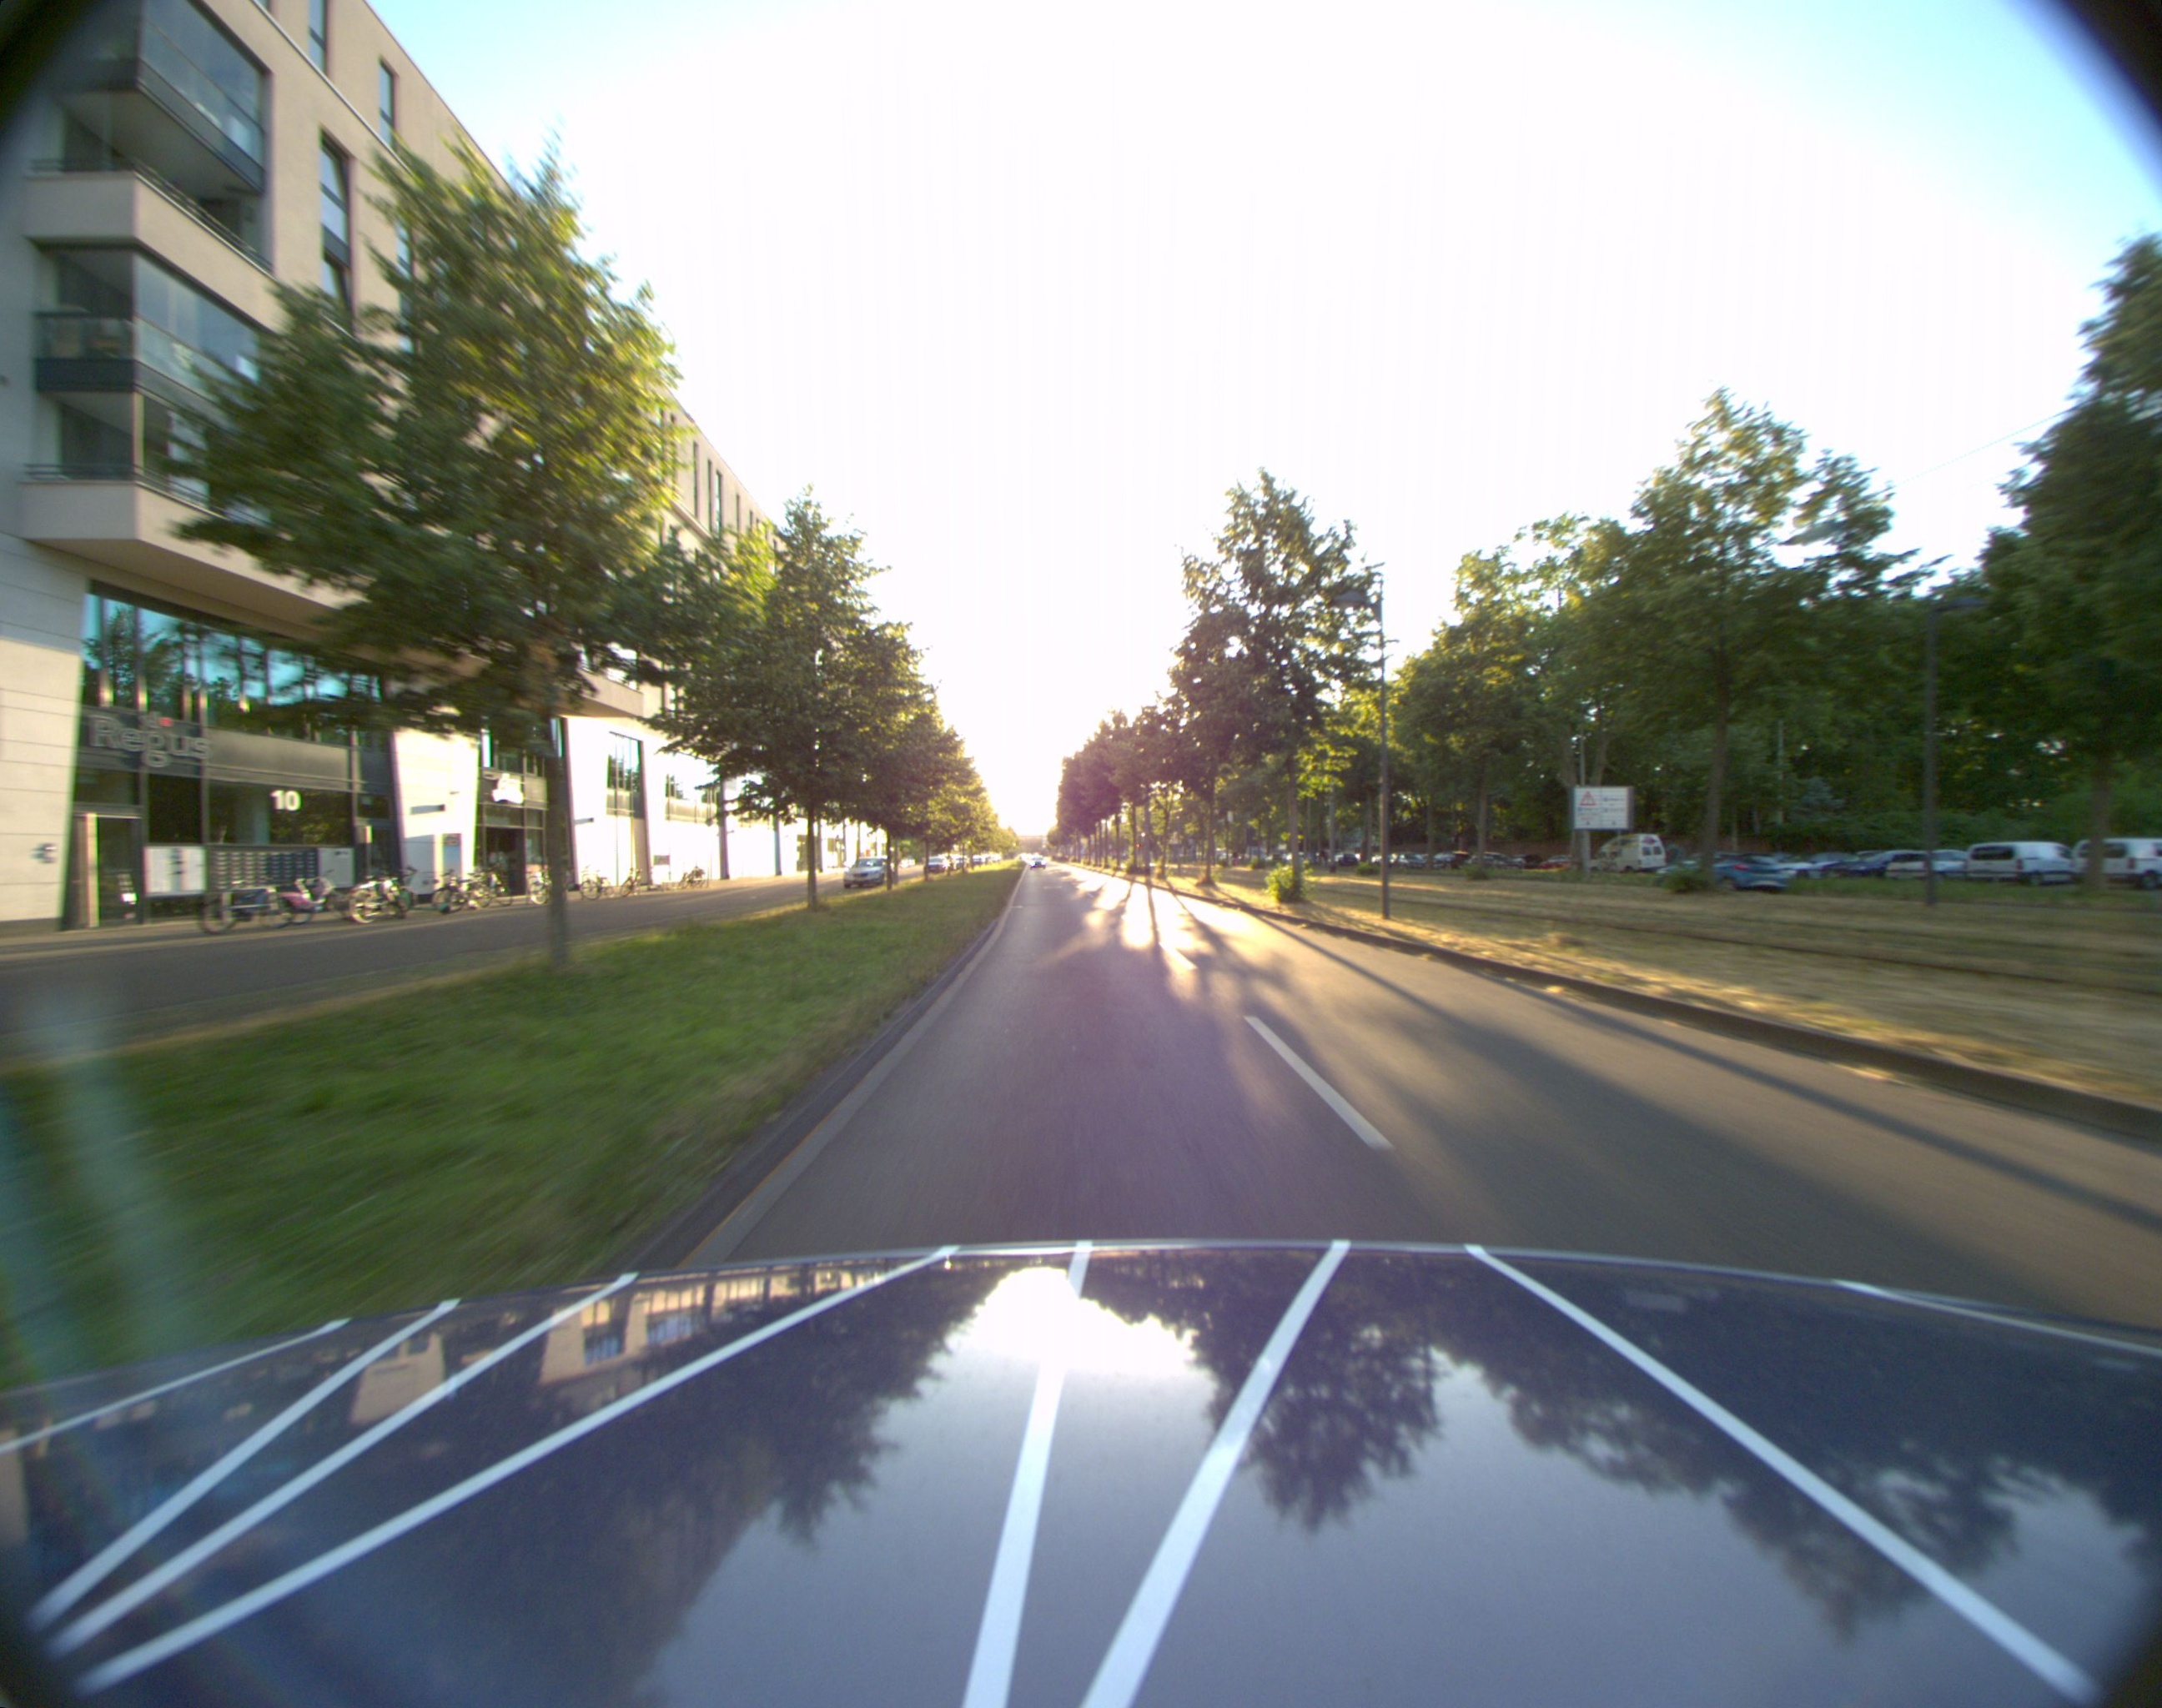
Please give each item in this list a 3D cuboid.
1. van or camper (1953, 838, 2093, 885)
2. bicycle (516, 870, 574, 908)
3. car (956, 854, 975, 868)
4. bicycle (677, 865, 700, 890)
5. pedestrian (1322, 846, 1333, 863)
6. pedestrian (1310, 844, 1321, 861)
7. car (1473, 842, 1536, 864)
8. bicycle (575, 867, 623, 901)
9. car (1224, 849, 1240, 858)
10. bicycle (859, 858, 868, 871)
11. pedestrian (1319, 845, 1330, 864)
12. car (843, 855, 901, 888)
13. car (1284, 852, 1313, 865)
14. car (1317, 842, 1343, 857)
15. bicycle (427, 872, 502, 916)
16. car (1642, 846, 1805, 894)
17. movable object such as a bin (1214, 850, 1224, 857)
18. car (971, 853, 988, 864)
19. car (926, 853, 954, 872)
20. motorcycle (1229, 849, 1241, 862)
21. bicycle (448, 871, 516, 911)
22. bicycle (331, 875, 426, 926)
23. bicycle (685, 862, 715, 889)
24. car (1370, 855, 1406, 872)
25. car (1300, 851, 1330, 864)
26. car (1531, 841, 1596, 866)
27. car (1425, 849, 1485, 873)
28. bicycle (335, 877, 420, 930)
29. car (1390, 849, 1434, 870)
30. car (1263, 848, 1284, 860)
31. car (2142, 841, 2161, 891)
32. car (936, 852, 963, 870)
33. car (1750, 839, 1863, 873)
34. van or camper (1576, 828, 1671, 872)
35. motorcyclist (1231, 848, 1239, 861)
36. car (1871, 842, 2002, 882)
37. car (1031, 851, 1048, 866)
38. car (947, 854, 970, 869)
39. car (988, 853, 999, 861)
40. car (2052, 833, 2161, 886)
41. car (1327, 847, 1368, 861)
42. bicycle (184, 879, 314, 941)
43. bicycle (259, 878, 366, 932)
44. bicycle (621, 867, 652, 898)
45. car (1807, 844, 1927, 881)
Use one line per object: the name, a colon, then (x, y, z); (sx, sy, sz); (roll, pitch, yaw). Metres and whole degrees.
van or camper: (37.592, 0.283, 30.352); (4.002, 1.780, 1.998); (-1, 0, -14)
bicycle: (-16.309, 1.047, 23.190); (0.534, 1.054, 1.856); (1, 0, -3)
car: (-13.215, 0.786, 86.967); (1.814, 1.492, 3.958); (-1, 0, -4)
bicycle: (-17.647, 1.030, 34.172); (0.535, 1.054, 1.854); (1, 0, -16)
pedestrian: (24.640, 0.042, 75.863); (0.695, 1.748, 0.865); (-1, 1, -11)
pedestrian: (23.468, -0.171, 76.065); (0.695, 1.733, 0.866); (-1, 1, -6)
car: (29.537, -0.066, 53.168); (1.999, 1.477, 3.998); (-1, 0, -3)
bicycle: (-16.367, 0.998, 25.842); (0.534, 1.054, 1.856); (1, 0, -3)
car: (26.775, -0.131, 134.630); (1.815, 1.522, 4.052); (-1, 0, -2)
bicycle: (-19.223, 0.911, 67.107); (0.535, 1.053, 1.611); (-1, 0, -9)
pedestrian: (24.057, 0.006, 75.022); (0.695, 1.859, 0.865); (-1, 1, -11)
car: (-10.262, 0.814, 37.657); (1.814, 1.492, 4.823); (-1, 0, -4)
car: (26.093, 0.552, 91.376); (1.999, 1.490, 4.555); (-1, 0, -3)
car: (35.731, -0.665, 109.060); (1.999, 2.002, 5.058); (-1, 0, 0)
bicycle: (-16.206, 1.029, 20.033); (0.534, 1.054, 1.856); (1, 0, -3)
car: (22.194, 0.510, 26.513); (1.923, 1.499, 4.285); (-1, 0, -4)
movable object such as a bin: (26.305, -0.113, 144.825); (1.557, 1.364, 1.724); (-1, 0, -2)
car: (-14.700, 0.704, 109.925); (1.813, 1.492, 4.368); (2, 0, 0)
car: (-11.912, 0.701, 64.322); (1.729, 1.492, 4.231); (-2, 0, -3)
motorcycle: (16.184, 0.176, 79.875); (0.684, 1.329, 2.344); (-1, 0, -4)
bicycle: (-16.821, 1.014, 21.388); (0.534, 1.054, 1.856); (1, 0, -3)
bicycle: (-16.151, 1.039, 17.537); (0.534, 1.055, 1.856); (-1, 0, -3)
bicycle: (-17.160, 0.943, 34.233); (0.539, 1.157, 1.780); (1, 0, -3)
car: (28.139, 0.856, 69.801); (1.807, 1.551, 3.838); (-1, 0, 2)
car: (26.331, 0.382, 85.714); (1.905, 1.490, 4.305); (-1, 0, -3)
car: (35.378, -0.019, 55.843); (1.999, 1.739, 3.998); (-1, 0, -4)
car: (28.765, 0.527, 58.647); (1.999, 1.739, 4.788); (-1, 0, -4)
bicycle: (-15.432, 1.067, 16.717); (0.535, 1.054, 1.779); (1, 0, -13)
car: (27.932, 0.459, 64.327); (1.998, 1.739, 4.160); (-1, 0, 2)
car: (26.007, 0.023, 102.730); (1.998, 1.630, 4.001); (-1, 0, 3)
car: (37.772, 0.370, 24.590); (3.996, 1.630, 1.922); (-1, 0, 3)
car: (-12.326, 0.637, 71.690); (1.959, 1.614, 4.819); (-3, 0, -4)
car: (37.017, 0.111, 38.829); (3.998, 1.630, 1.922); (-1, 0, -2)
van or camper: (35.915, -0.251, 50.517); (2.091, 2.719, 5.492); (-1, 0, -5)
motorcyclist: (16.181, 0.009, 79.892); (0.683, 1.367, 0.804); (-1, 1, -5)
car: (37.731, 0.350, 33.558); (3.999, 1.630, 1.921); (-1, 0, -7)
car: (-4.698, 0.483, 85.330); (1.828, 1.625, 3.998); (-1, 0, -4)
car: (-12.693, 0.732, 78.992); (1.926, 1.492, 5.008); (-1, 0, -4)
car: (-17.821, 0.554, 155.414); (1.925, 1.492, 5.409); (-1, 0, -4)
car: (38.124, 0.171, 27.343); (3.998, 1.834, 2.011); (-1, 0, -3)
car: (26.281, 0.025, 75.114); (1.999, 1.307, 5.140); (-1, 0, -3)
bicycle: (-15.974, 1.043, 14.663); (0.534, 1.054, 1.856); (1, 0, -3)
bicycle: (-16.684, 1.072, 16.556); (0.534, 1.055, 1.856); (1, 0, -3)
bicycle: (-16.149, 1.012, 27.631); (0.535, 1.054, 1.854); (1, 0, -16)
car: (37.028, 0.366, 35.858); (3.999, 1.630, 1.921); (-1, 0, -7)
